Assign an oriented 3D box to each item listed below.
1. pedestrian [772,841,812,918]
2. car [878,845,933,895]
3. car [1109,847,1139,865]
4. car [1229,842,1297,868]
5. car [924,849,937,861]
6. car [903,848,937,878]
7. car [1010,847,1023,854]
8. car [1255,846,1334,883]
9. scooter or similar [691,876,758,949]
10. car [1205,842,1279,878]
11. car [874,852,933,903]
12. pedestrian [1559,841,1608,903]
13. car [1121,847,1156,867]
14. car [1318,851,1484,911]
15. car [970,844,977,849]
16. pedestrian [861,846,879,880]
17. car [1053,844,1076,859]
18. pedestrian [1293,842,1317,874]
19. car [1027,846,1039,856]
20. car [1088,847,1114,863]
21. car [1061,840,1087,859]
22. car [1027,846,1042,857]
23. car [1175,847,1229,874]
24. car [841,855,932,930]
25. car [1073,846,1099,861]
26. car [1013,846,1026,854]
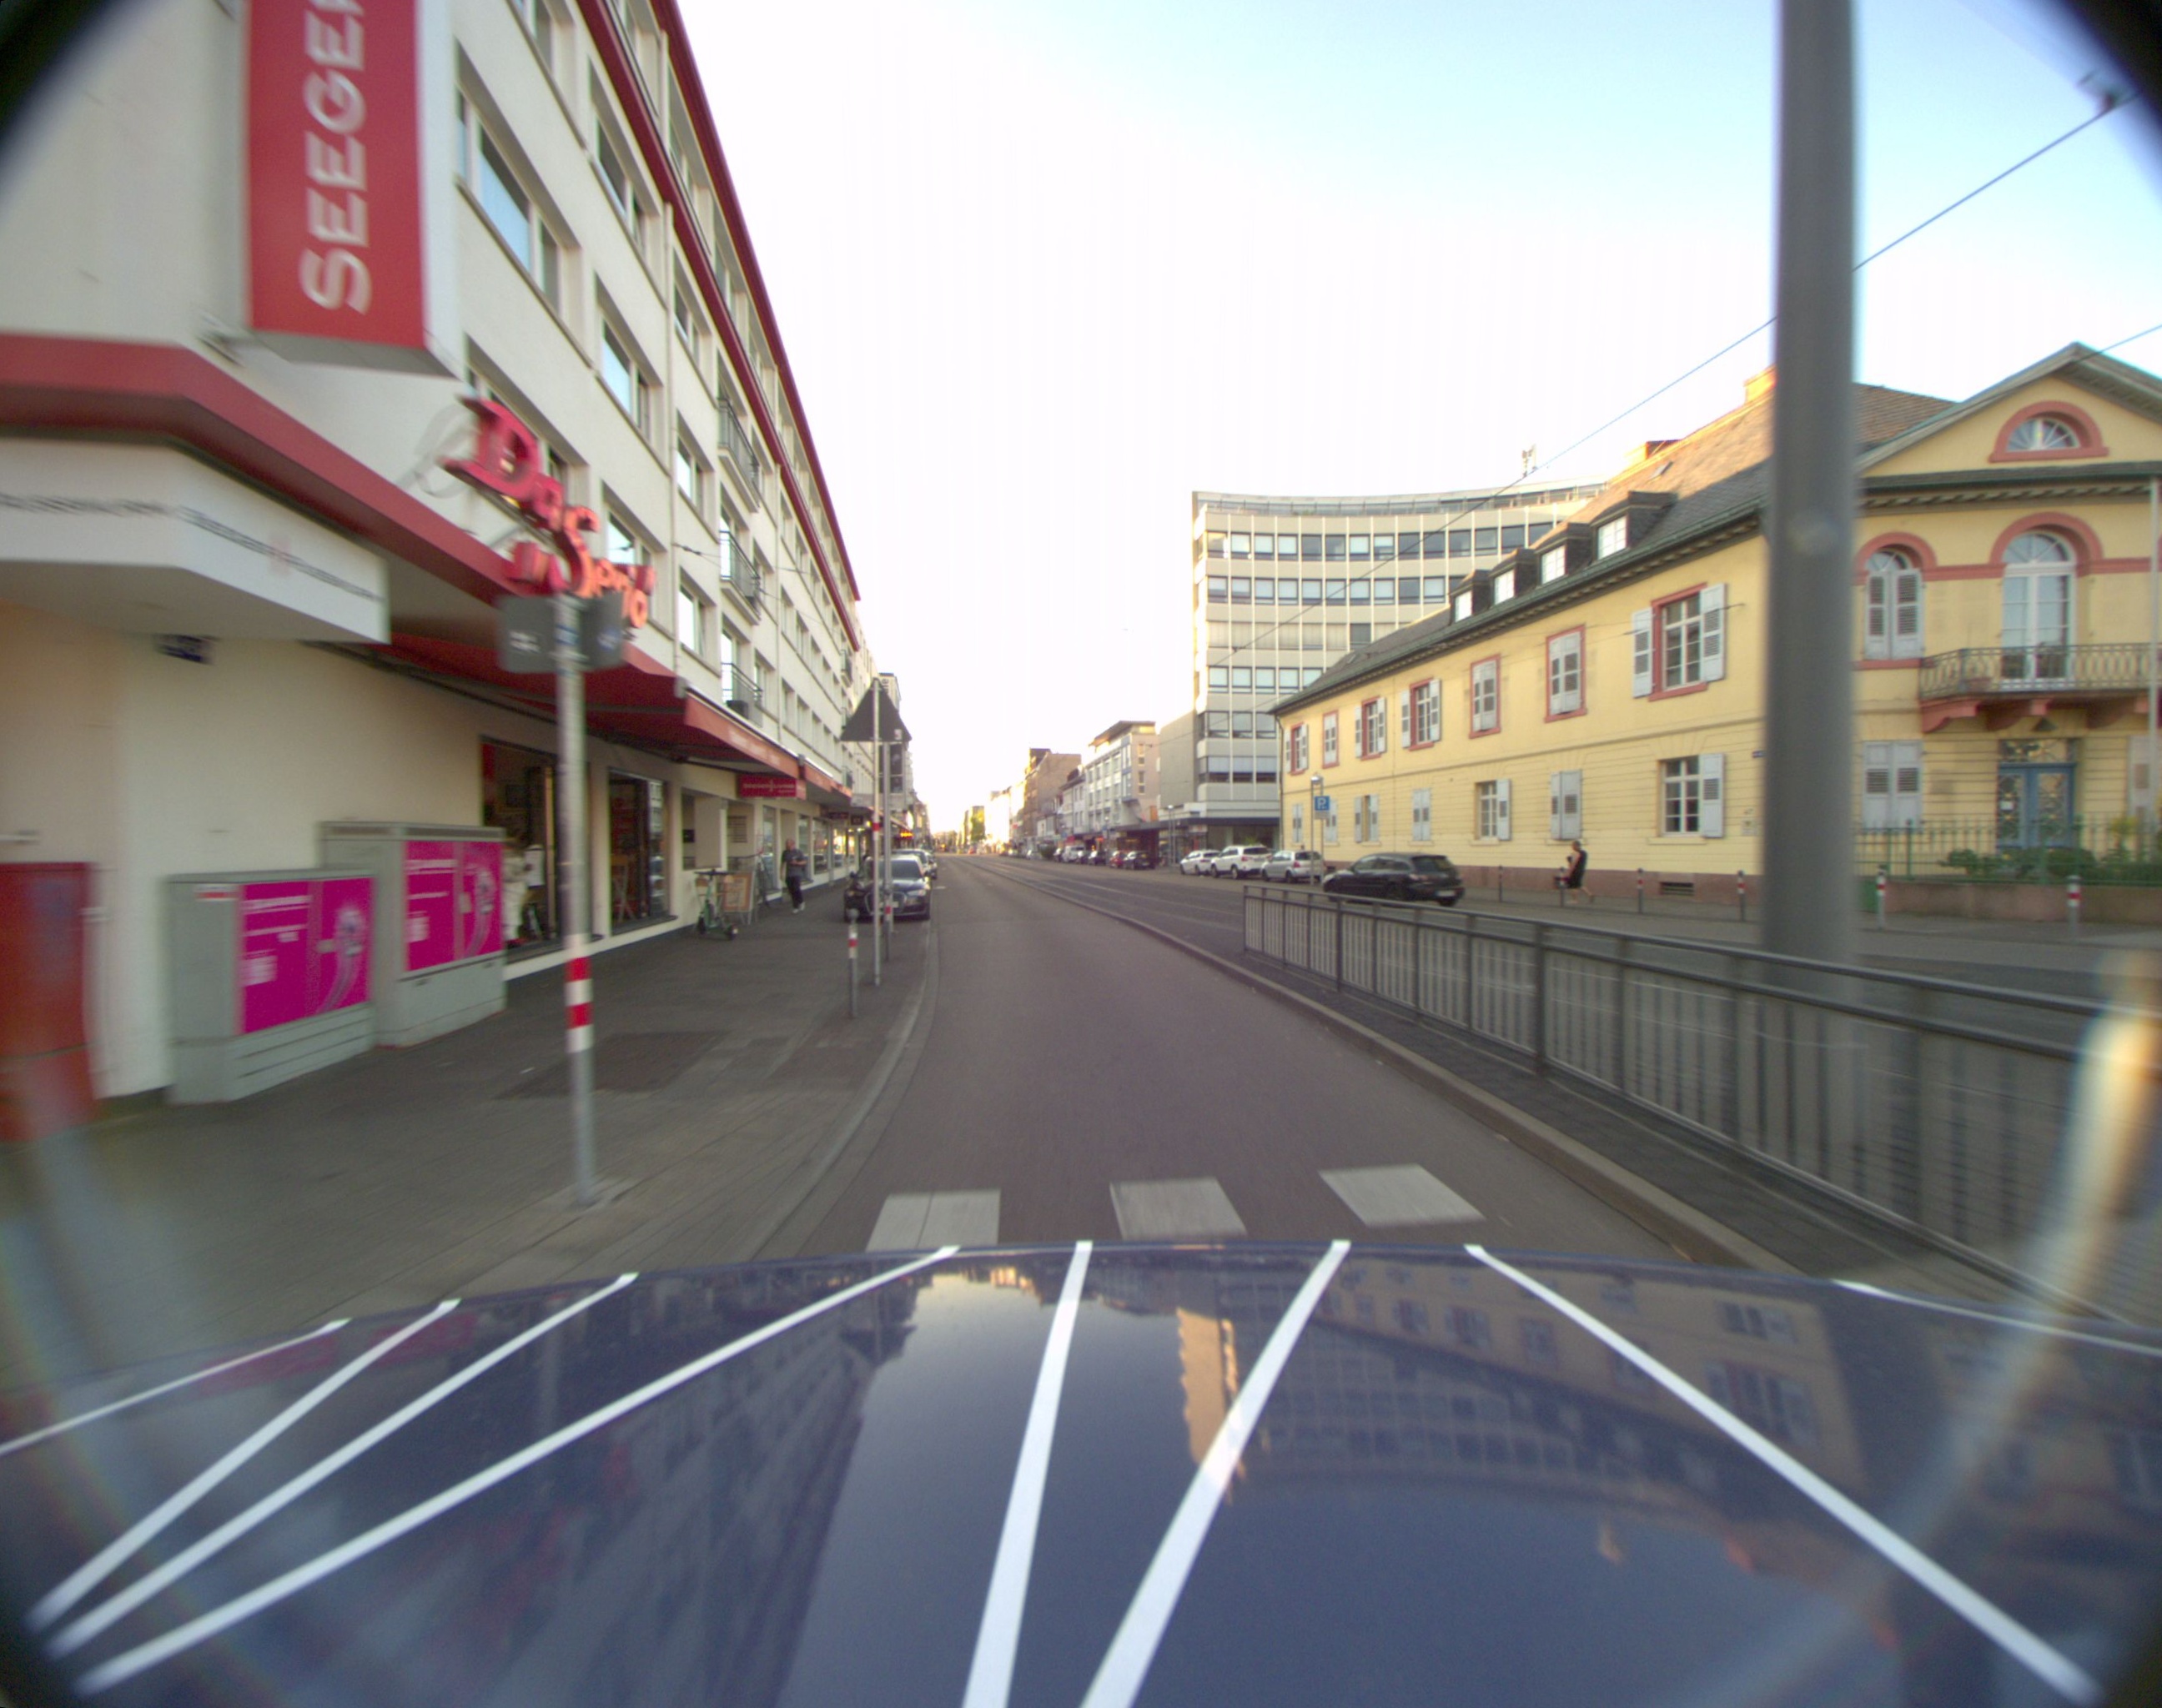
[{"bbox_3d":[-7.193,0.606,18.927,0.777,1.870,0.933,0,2,-12],"label":"pedestrian"},{"bbox_3d":[-6.826,0.561,29.875,1.862,1.691,4.412,-3,2,-11],"label":"car"},{"bbox_3d":[3.565,0.146,64.017,1.697,1.426,3.588,-1,1,-11],"label":"car"},{"bbox_3d":[12.219,0.055,51.034,4.001,1.544,1.911,-3,2,-13],"label":"car"},{"bbox_3d":[-20.472,0.148,103.274,1.746,1.532,3.961,-1,1,-11],"label":"car"},{"bbox_3d":[-9.340,0.484,44.152,1.798,1.524,4.850,-3,2,-12],"label":"car"},{"bbox_3d":[-12.932,-0.738,152.326,2.001,1.412,4.398,-3,2,-13],"label":"car"},{"bbox_3d":[9.433,0.428,33.909,1.754,1.465,3.996,-3,1,-11],"label":"car"},{"bbox_3d":[-6.227,1.000,13.238,1.434,1.187,0.336,0,1,33],"label":"scooter or similar"},{"bbox_3d":[8.189,0.250,39.088,1.893,1.651,4.755,-3,1,-13],"label":"car"},{"bbox_3d":[-5.753,0.697,25.058,1.657,1.413,4.186,-3,2,-11],"label":"car"},{"bbox_3d":[12.661,0.436,19.152,0.722,1.527,0.718,-1,2,-15],"label":"pedestrian"},{"bbox_3d":[4.404,0.239,58.661,1.697,1.417,3.961,-3,1,-11],"label":"car"},{"bbox_3d":[8.344,0.630,20.280,1.774,1.368,4.215,-1,1,-18],"label":"car"},{"bbox_3d":[-35.384,-2.495,250.484,2.000,1.554,3.995,-3,2,-12],"label":"car"},{"bbox_3d":[-10.021,0.418,36.143,0.736,1.565,0.965,-1,1,-11],"label":"pedestrian"},{"bbox_3d":[-2.078,-0.379,94.627,2.000,1.688,4.583,-3,2,-11],"label":"car"},{"bbox_3d":[11.060,0.202,37.472,0.802,1.533,0.876,-2,2,-9],"label":"pedestrian"},{"bbox_3d":[-7.937,-0.480,125.794,1.661,1.562,3.467,-2,2,-9],"label":"car"},{"bbox_3d":[1.897,0.087,73.296,1.796,1.452,4.087,0,1,-10],"label":"car"},{"bbox_3d":[-0.843,-0.505,86.728,1.971,2.002,5.093,-3,2,-12],"label":"car"},{"bbox_3d":[-7.438,-0.415,121.073,1.898,1.547,4.617,-3,2,-11],"label":"car"},{"bbox_3d":[7.153,0.368,45.326,1.727,1.444,4.278,-3,1,-11],"label":"car"},{"bbox_3d":[-4.534,0.805,18.278,1.796,1.405,4.681,-3,2,-11],"label":"car"},{"bbox_3d":[0.499,-0.024,80.209,1.878,1.419,4.565,-3,2,-11],"label":"car"},{"bbox_3d":[-11.432,-0.748,141.315,1.848,1.484,3.811,-3,2,-10],"label":"car"}]
